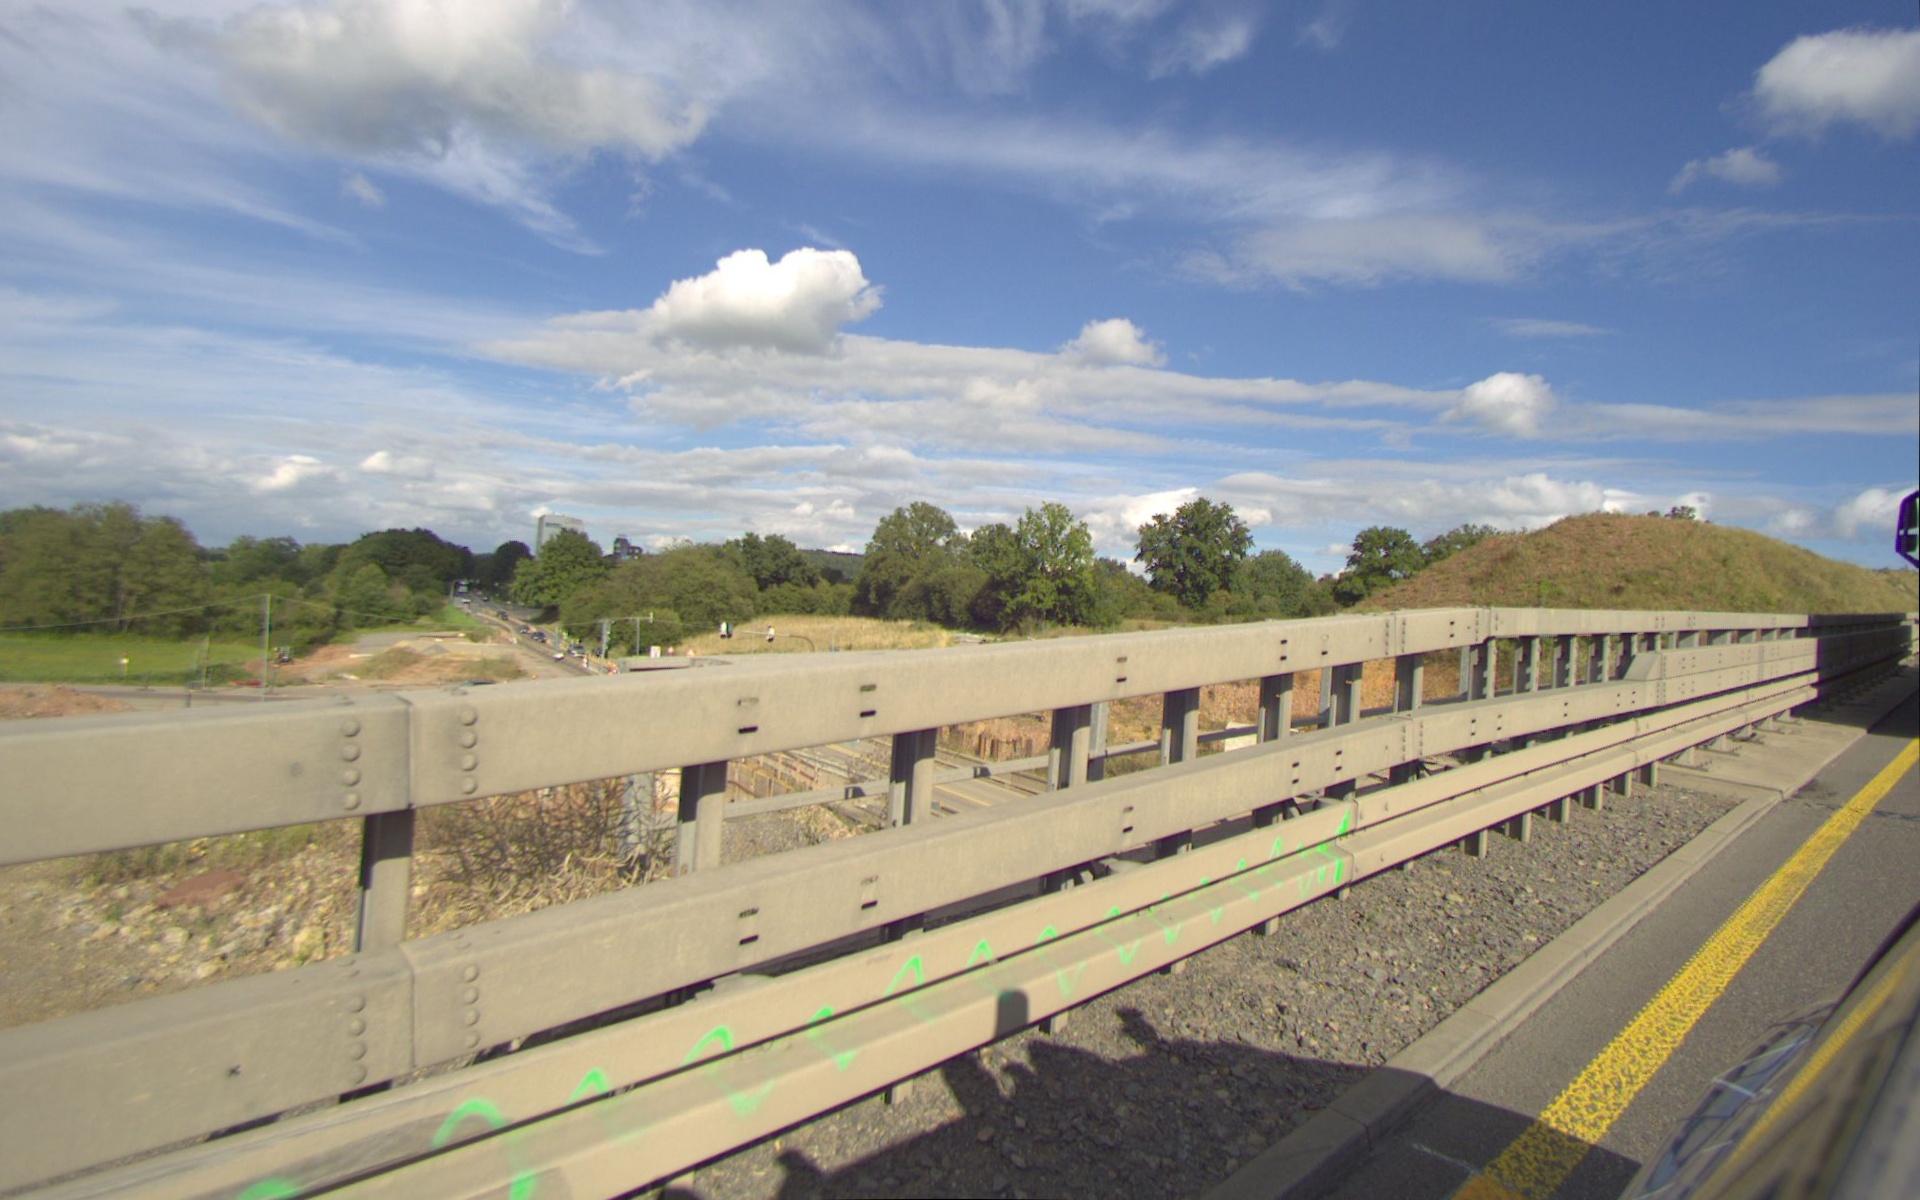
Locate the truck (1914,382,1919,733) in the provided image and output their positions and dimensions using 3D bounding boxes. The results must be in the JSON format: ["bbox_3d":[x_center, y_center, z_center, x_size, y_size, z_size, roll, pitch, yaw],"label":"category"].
[{"bbox_3d":[15.241,-0.502,13.735,10.143,3.896,2.660,0,0,-43],"label":"truck"}]
